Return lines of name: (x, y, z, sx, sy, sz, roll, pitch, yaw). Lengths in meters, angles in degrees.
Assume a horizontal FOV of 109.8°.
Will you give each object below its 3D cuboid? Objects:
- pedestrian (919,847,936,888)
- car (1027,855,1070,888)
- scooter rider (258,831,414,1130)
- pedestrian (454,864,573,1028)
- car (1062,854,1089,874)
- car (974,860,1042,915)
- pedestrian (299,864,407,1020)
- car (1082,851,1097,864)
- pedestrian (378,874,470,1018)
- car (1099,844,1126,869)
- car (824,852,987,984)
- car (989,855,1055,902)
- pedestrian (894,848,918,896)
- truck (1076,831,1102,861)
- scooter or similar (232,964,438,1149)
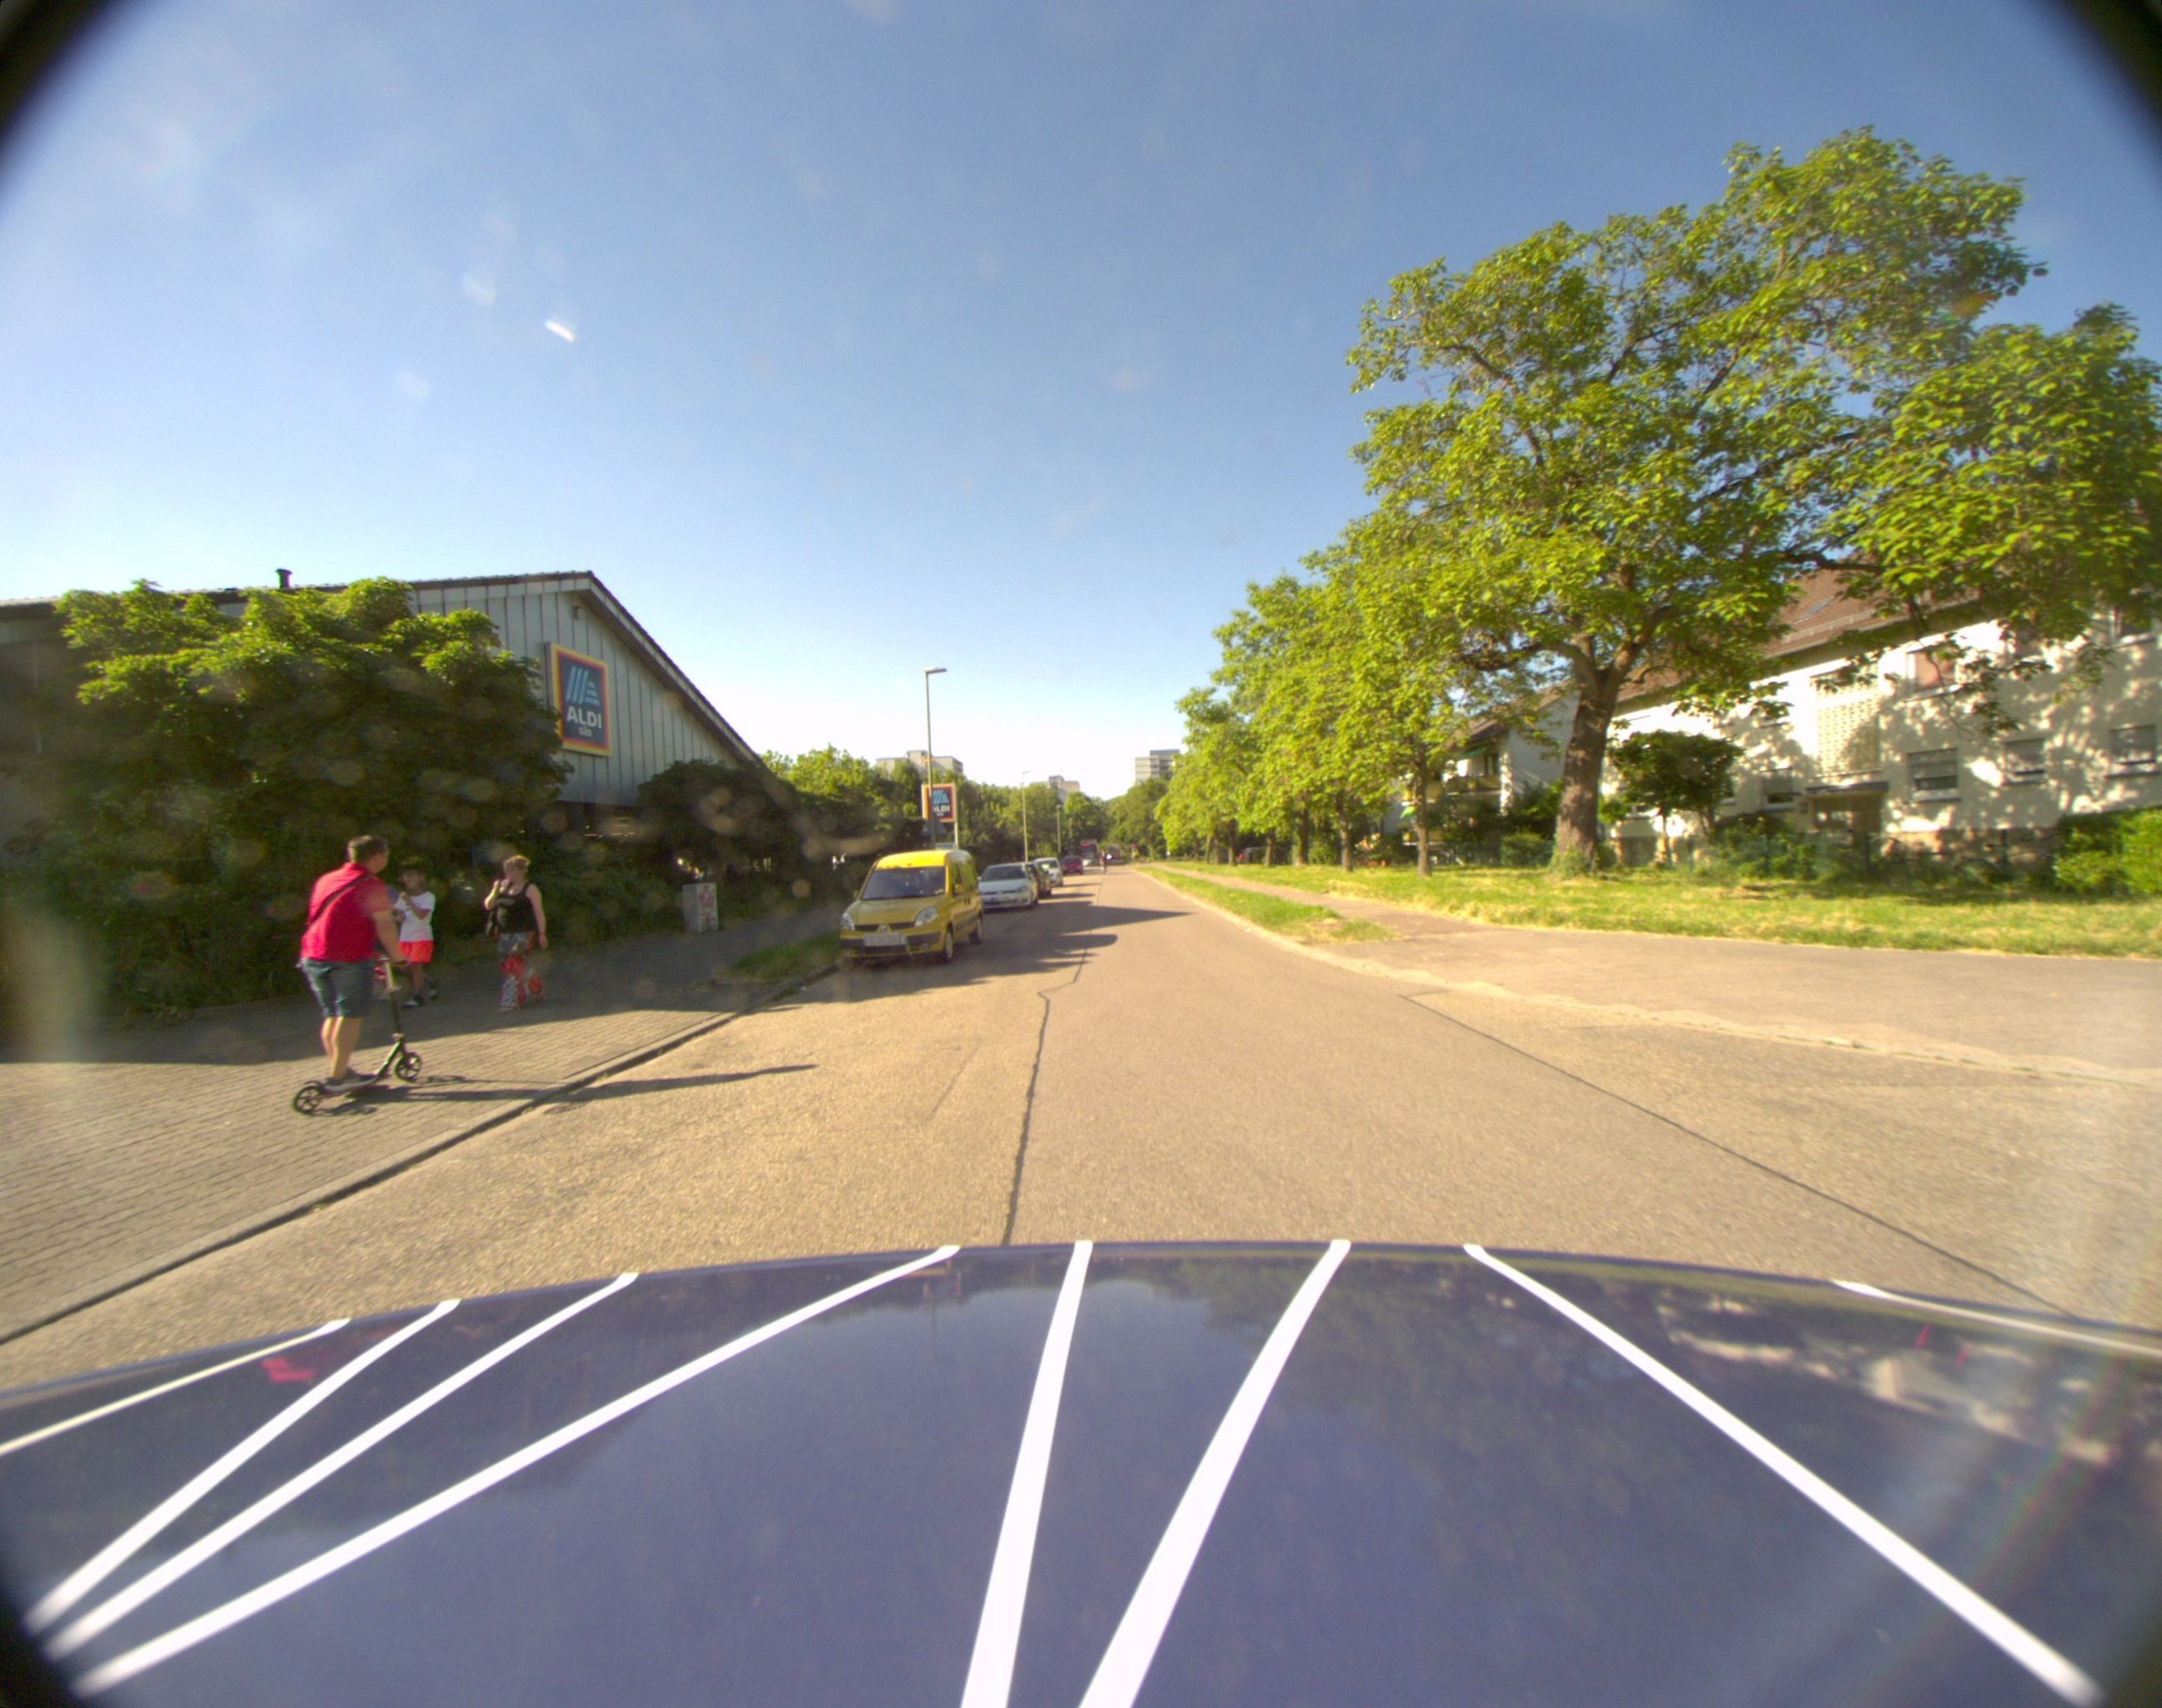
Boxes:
pedestrian: (-6.709, 0.565, 33.186, 0.541, 1.758, 0.590, -2, 1, 2)
car: (-1.733, 0.902, 41.798, 1.998, 1.587, 4.578, -3, 0, 2)
scooter rider: (-5.195, 0.852, 5.326, 0.599, 2.002, 0.486, 1, 1, -4)
pedestrian: (-6.226, 0.969, 8.380, 0.635, 1.679, 0.896, 2, 1, -1)
car: (-0.465, 0.831, 68.218, 1.998, 1.587, 4.578, -2, 1, 4)
car: (-2.254, 1.005, 24.415, 1.621, 1.478, 3.981, -3, 1, 2)
pedestrian: (-8.132, 0.954, 8.512, 0.583, 1.654, 0.642, 2, 1, -1)
car: (1.199, 0.524, 107.372, 1.998, 1.738, 4.000, -2, 1, 2)
pedestrian: (-7.393, 1.008, 8.570, 0.447, 1.524, 0.666, 2, 1, -1)
car: (2.633, 0.165, 64.531, 1.965, 1.908, 4.576, -3, 2, -2)
car: (-2.740, 0.901, 12.782, 1.621, 1.766, 3.981, -3, 1, 2)
car: (-2.237, 0.911, 30.161, 1.998, 1.587, 4.578, -3, 0, 3)
pedestrian: (-6.450, 0.656, 28.029, 0.673, 1.758, 0.590, -2, 1, 2)
truck: (1.367, -1.251, 123.447, 3.601, 4.544, 10.024, -2, 1, 2)
scooter or similar: (-5.208, 1.370, 5.374, 0.457, 1.024, 1.049, 1, 1, -3)
